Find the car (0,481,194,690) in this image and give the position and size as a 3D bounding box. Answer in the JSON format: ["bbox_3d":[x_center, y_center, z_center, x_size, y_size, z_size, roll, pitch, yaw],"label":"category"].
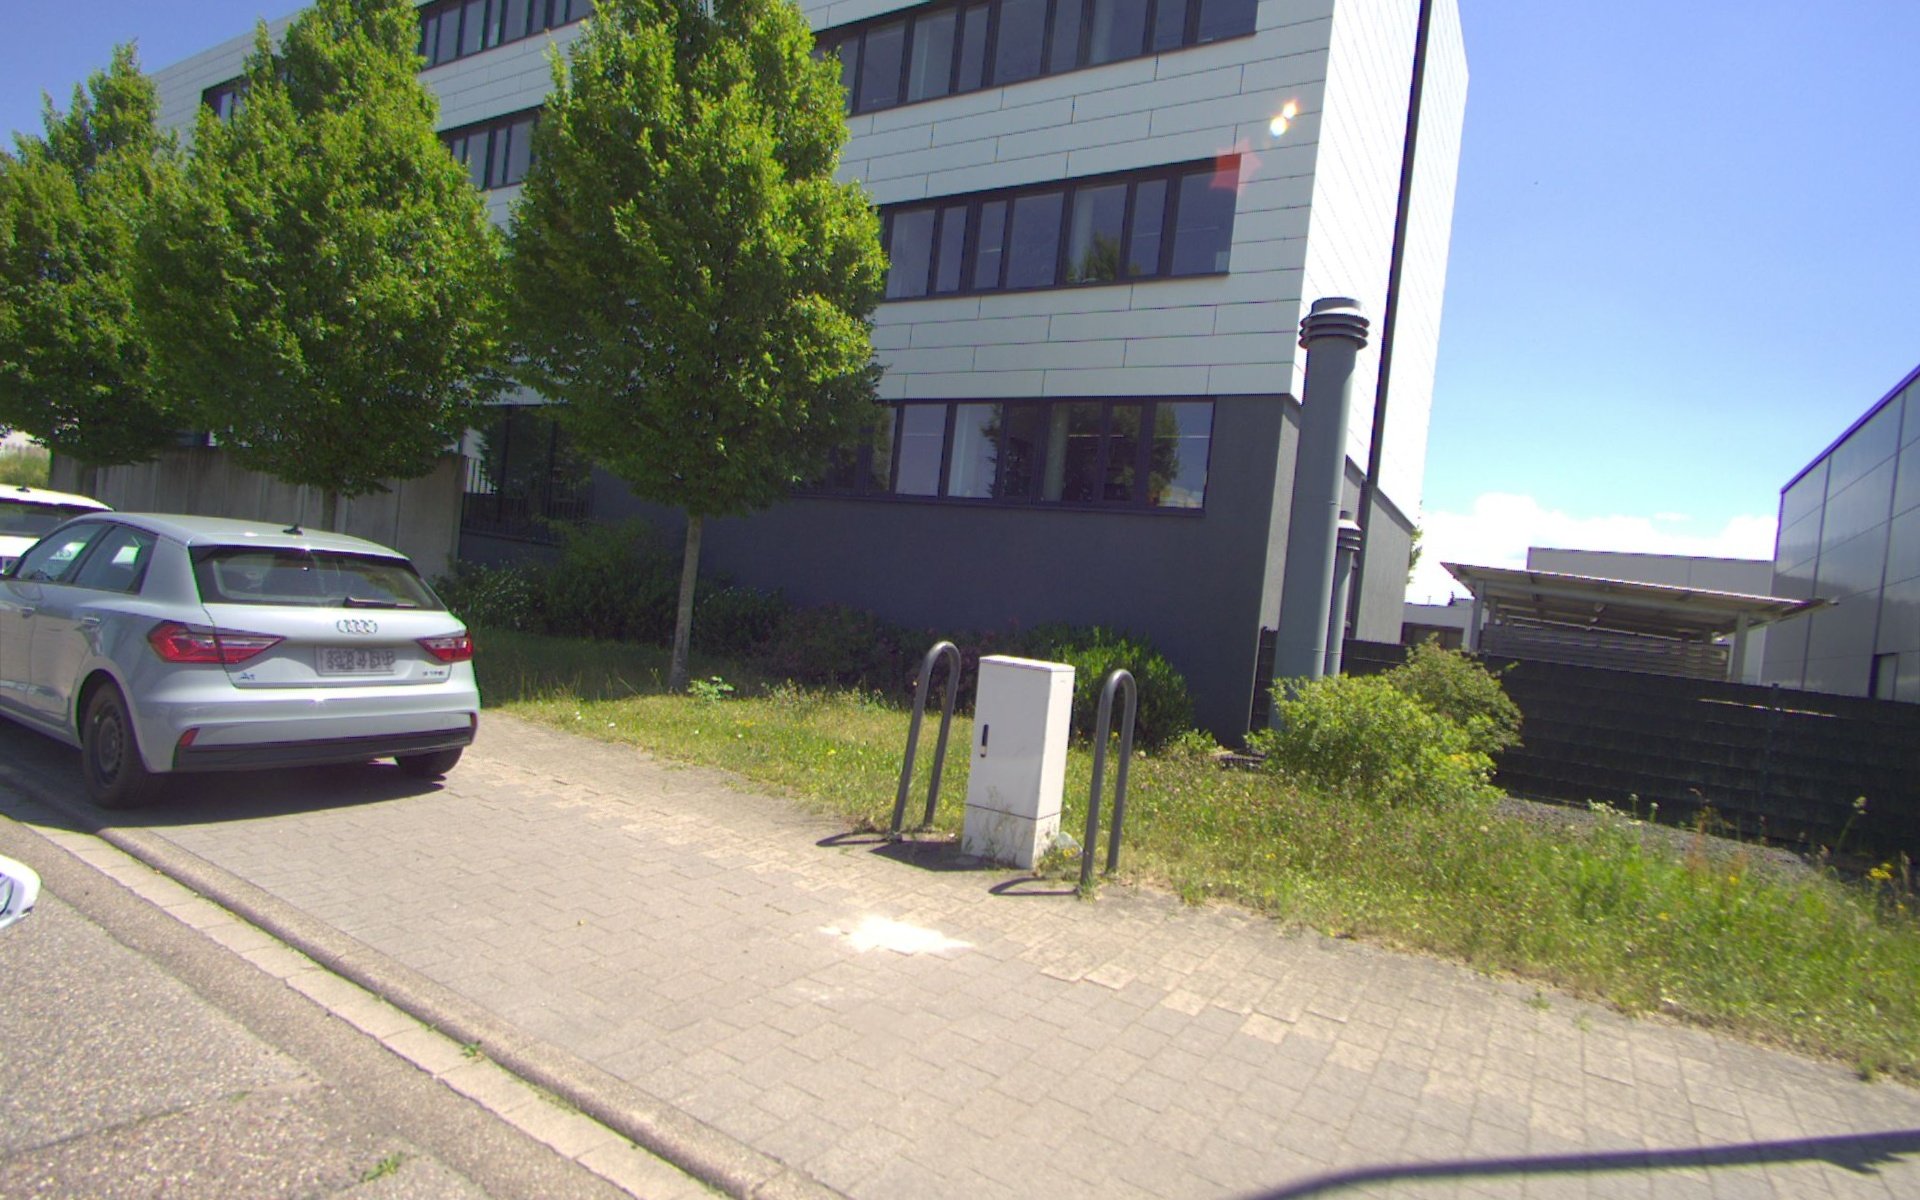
[{"bbox_3d":[-8.450,-0.276,8.603,3.965,1.501,1.716,7,3,32],"label":"car"}]

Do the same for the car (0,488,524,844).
[{"bbox_3d":[-4.640,0.176,6.108,3.886,1.443,1.716,7,3,32],"label":"car"}]
